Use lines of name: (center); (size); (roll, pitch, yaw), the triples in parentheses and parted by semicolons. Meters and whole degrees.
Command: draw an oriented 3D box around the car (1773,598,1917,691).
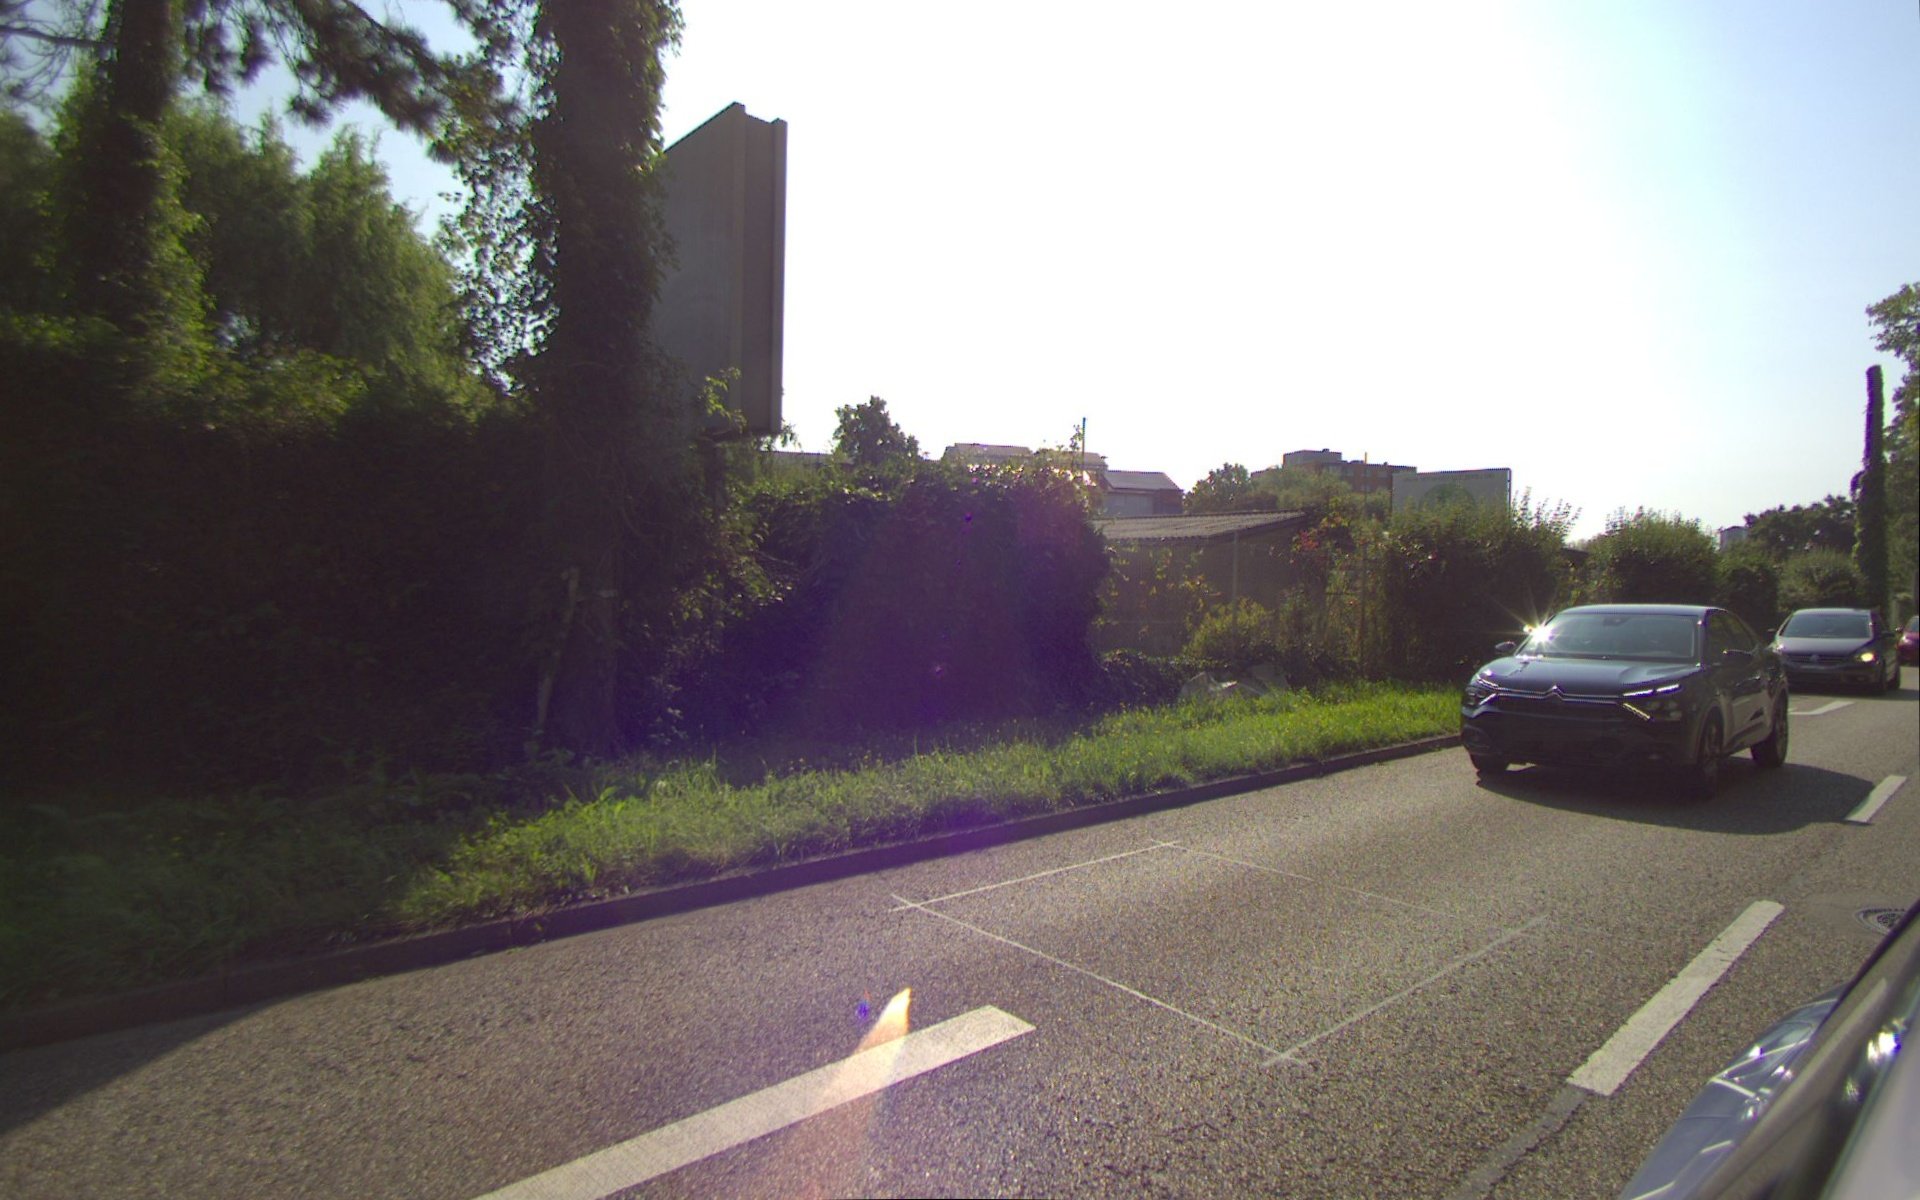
car: (17.095, 0.774, 19.491); (3.832, 1.576, 1.647); (0, 1, -42)

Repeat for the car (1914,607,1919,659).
car: (28.728, 0.966, 29.269); (1.575, 1.416, 3.418); (3, 2, 43)

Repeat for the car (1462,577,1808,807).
car: (6.277, 0.638, 9.207); (4.182, 1.608, 1.647); (0, 2, -43)
